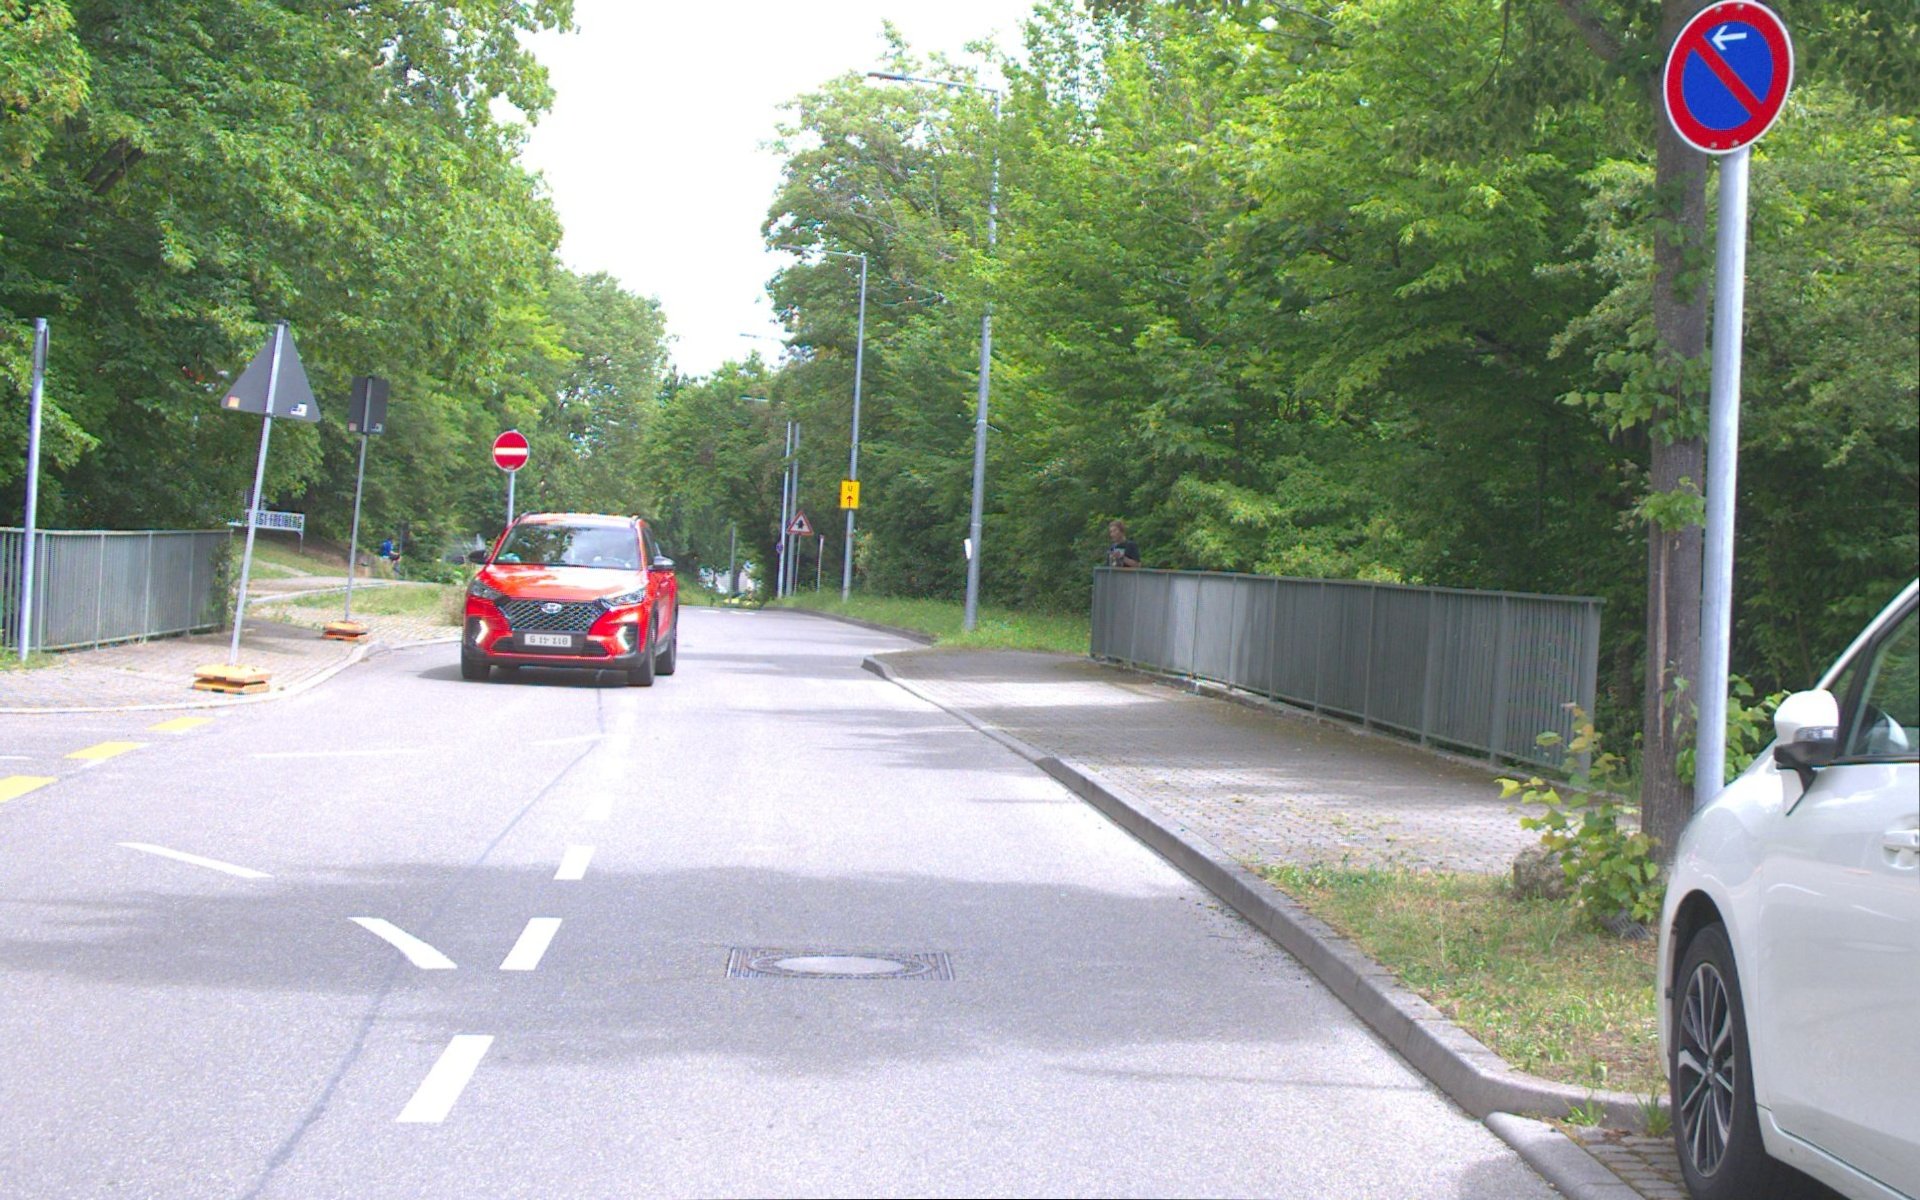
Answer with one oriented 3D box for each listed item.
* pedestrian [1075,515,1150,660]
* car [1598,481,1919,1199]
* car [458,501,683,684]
[{"bbox_3d":[1.917,-0.163,43.142,0.587,1.777,0.682,3,-1,-30],"label":"pedestrian"},{"bbox_3d":[2.572,0.605,6.211,1.804,1.594,4.372,1,1,-3],"label":"car"},{"bbox_3d":[-3.851,-0.115,34.582,1.843,1.653,4.222,2,1,-2],"label":"car"}]
